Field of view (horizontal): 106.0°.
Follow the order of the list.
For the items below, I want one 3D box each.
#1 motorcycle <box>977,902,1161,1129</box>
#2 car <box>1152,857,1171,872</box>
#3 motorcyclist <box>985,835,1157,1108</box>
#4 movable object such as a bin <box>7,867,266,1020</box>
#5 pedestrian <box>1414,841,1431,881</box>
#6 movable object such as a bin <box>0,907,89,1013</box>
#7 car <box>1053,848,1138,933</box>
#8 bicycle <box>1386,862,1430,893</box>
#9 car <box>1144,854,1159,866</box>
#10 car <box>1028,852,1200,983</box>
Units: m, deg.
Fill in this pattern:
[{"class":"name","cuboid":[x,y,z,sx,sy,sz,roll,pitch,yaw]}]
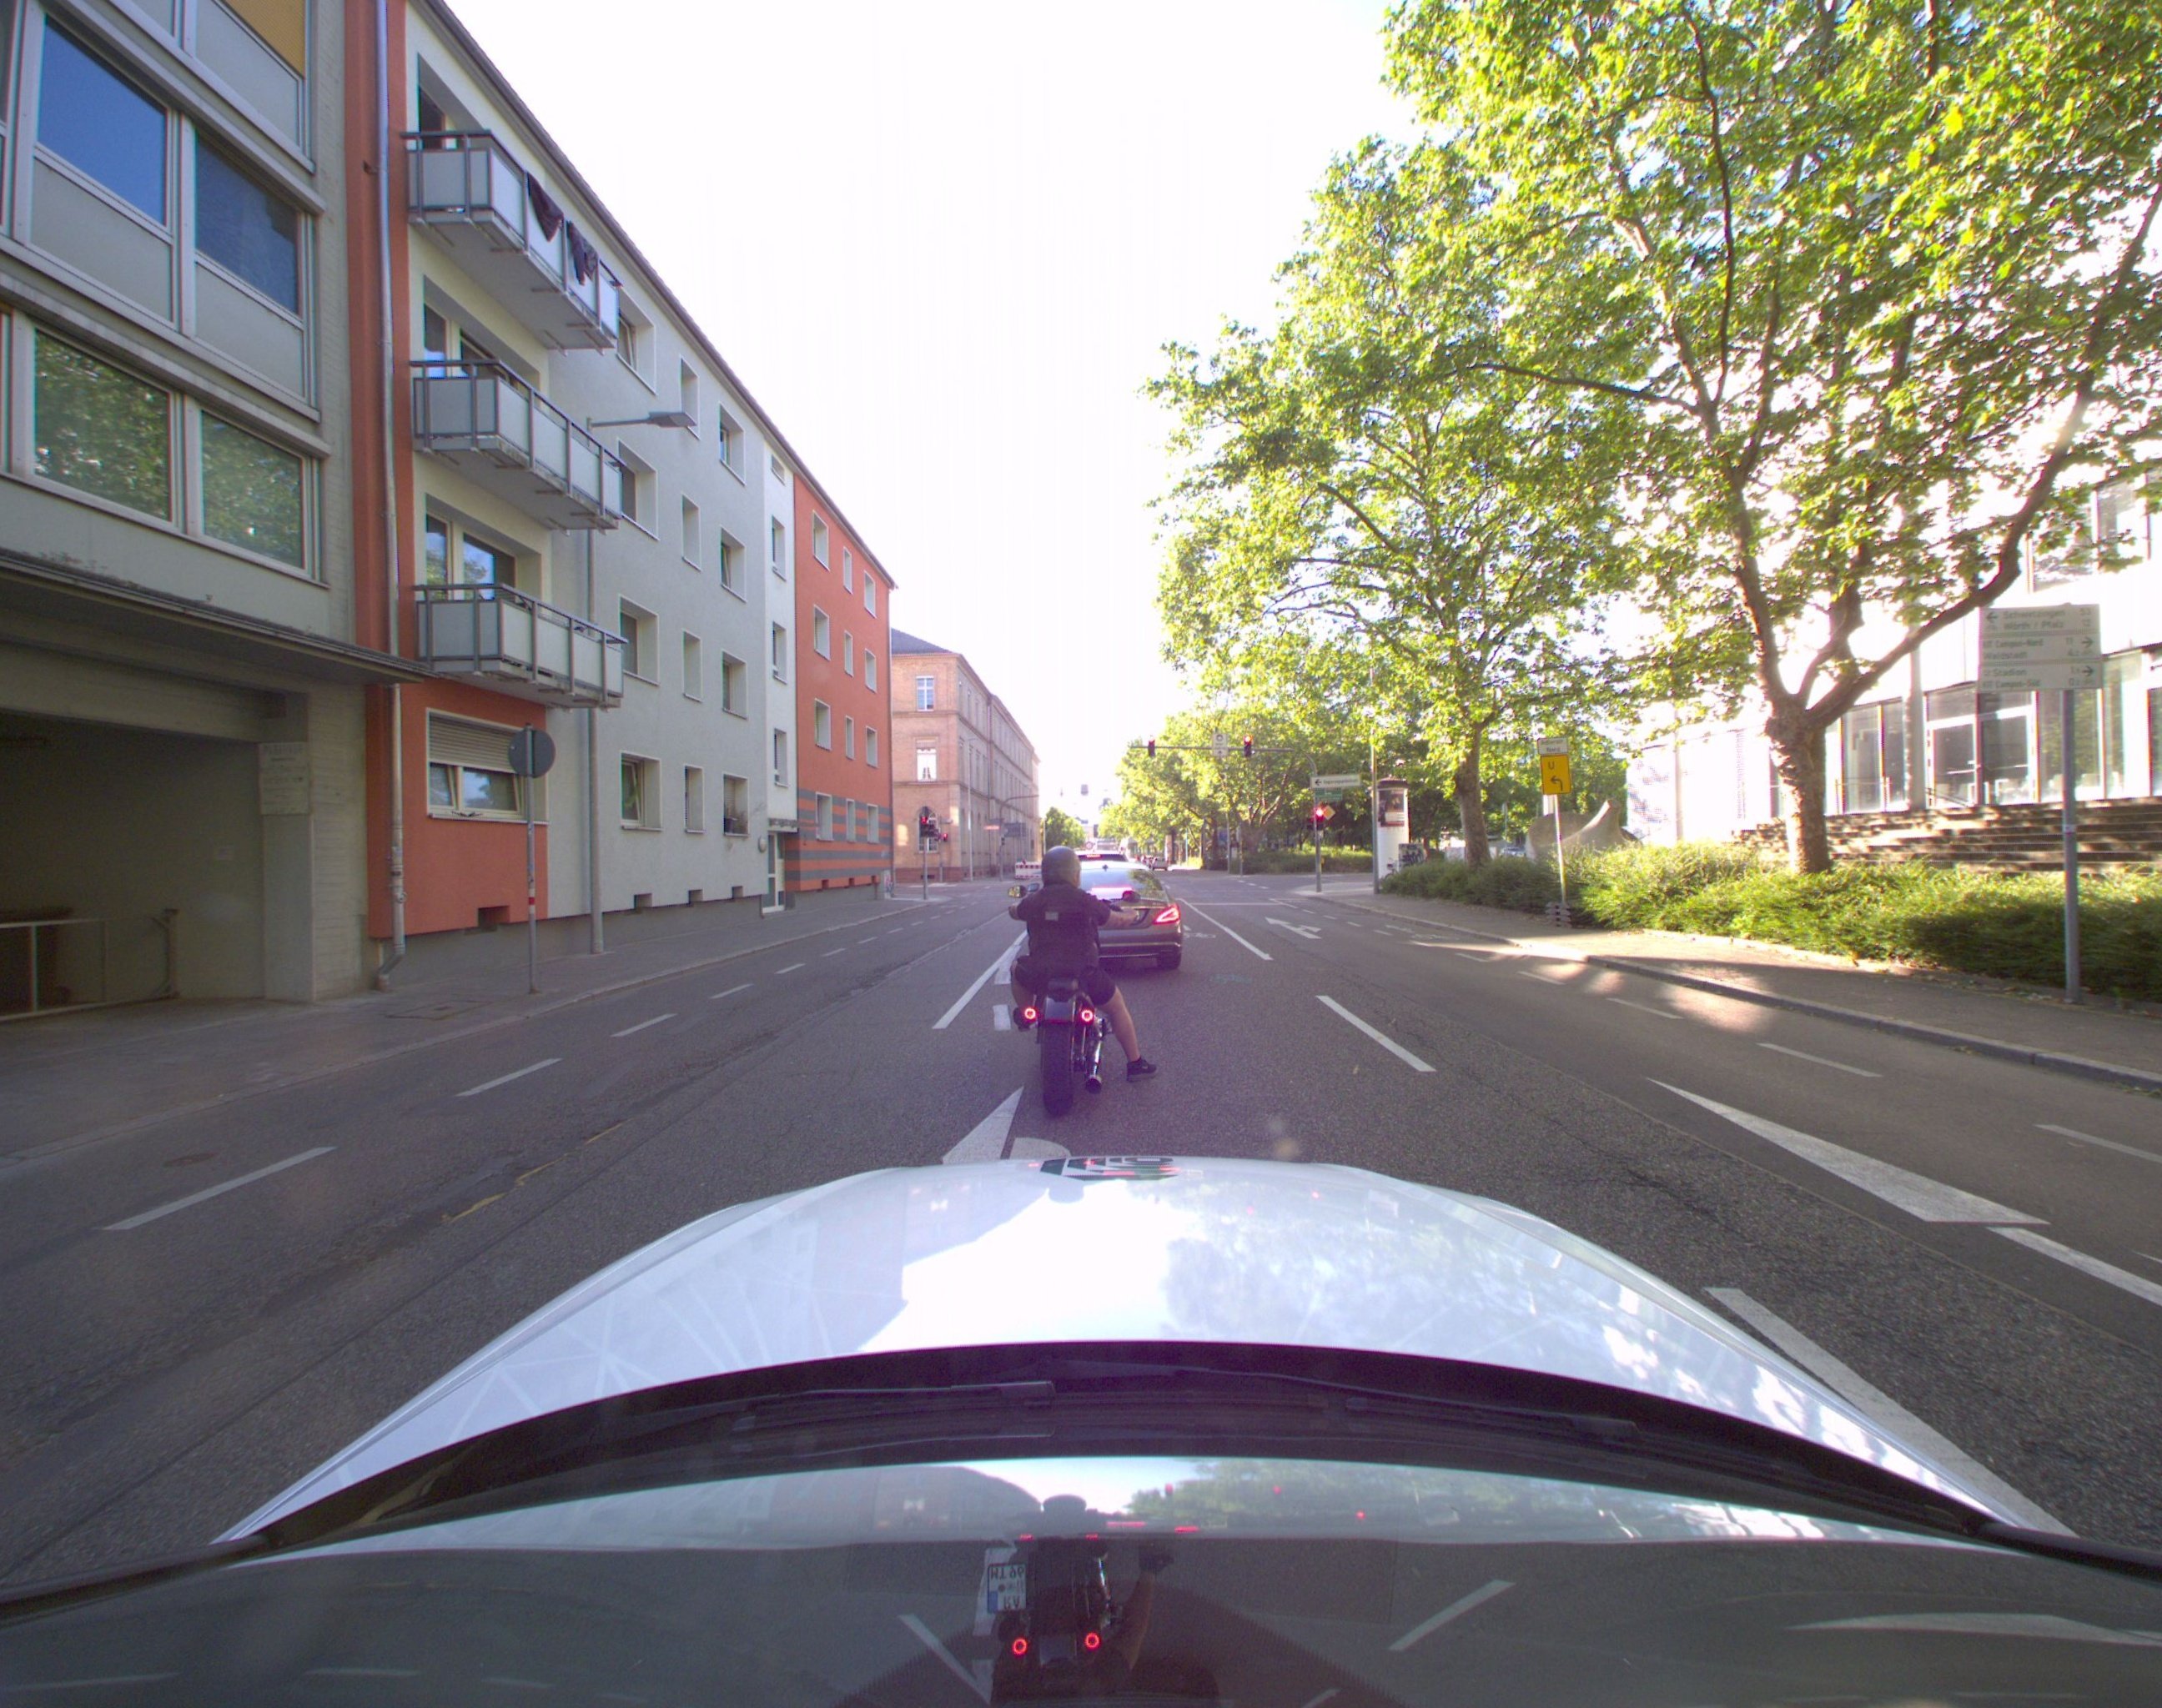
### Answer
[{"class":"motorcycle","cuboid":[-0.027,0.957,5.686,0.986,1.078,2.453,-1,0,2]},{"class":"car","cuboid":[8.526,1.100,86.432,1.814,1.481,3.911,-2,0,3]},{"class":"motorcyclist","cuboid":[-0.036,0.698,5.533,0.986,1.597,1.404,-1,0,2]},{"class":"movable object such as a bin","cuboid":[-9.625,0.866,8.372,1.322,1.430,1.134,-1,0,3]},{"class":"pedestrian","cuboid":[15.984,0.315,38.137,0.549,1.849,0.594,-1,0,3]},{"class":"movable object such as a bin","cuboid":[-11.316,1.112,8.687,0.593,1.041,0.703,0,-1,1]},{"class":"car","cuboid":[0.321,0.705,17.894,1.606,1.607,4.329,-1,0,1]},{"class":"bicycle","cuboid":[11.040,0.794,27.515,1.346,1.023,0.363,-1,0,2]},{"class":"car","cuboid":[8.909,0.722,103.482,1.848,1.486,3.912,0,-1,3]},{"class":"car","cuboid":[0.257,0.742,11.724,1.943,1.473,4.355,-1,0,-5]}]
